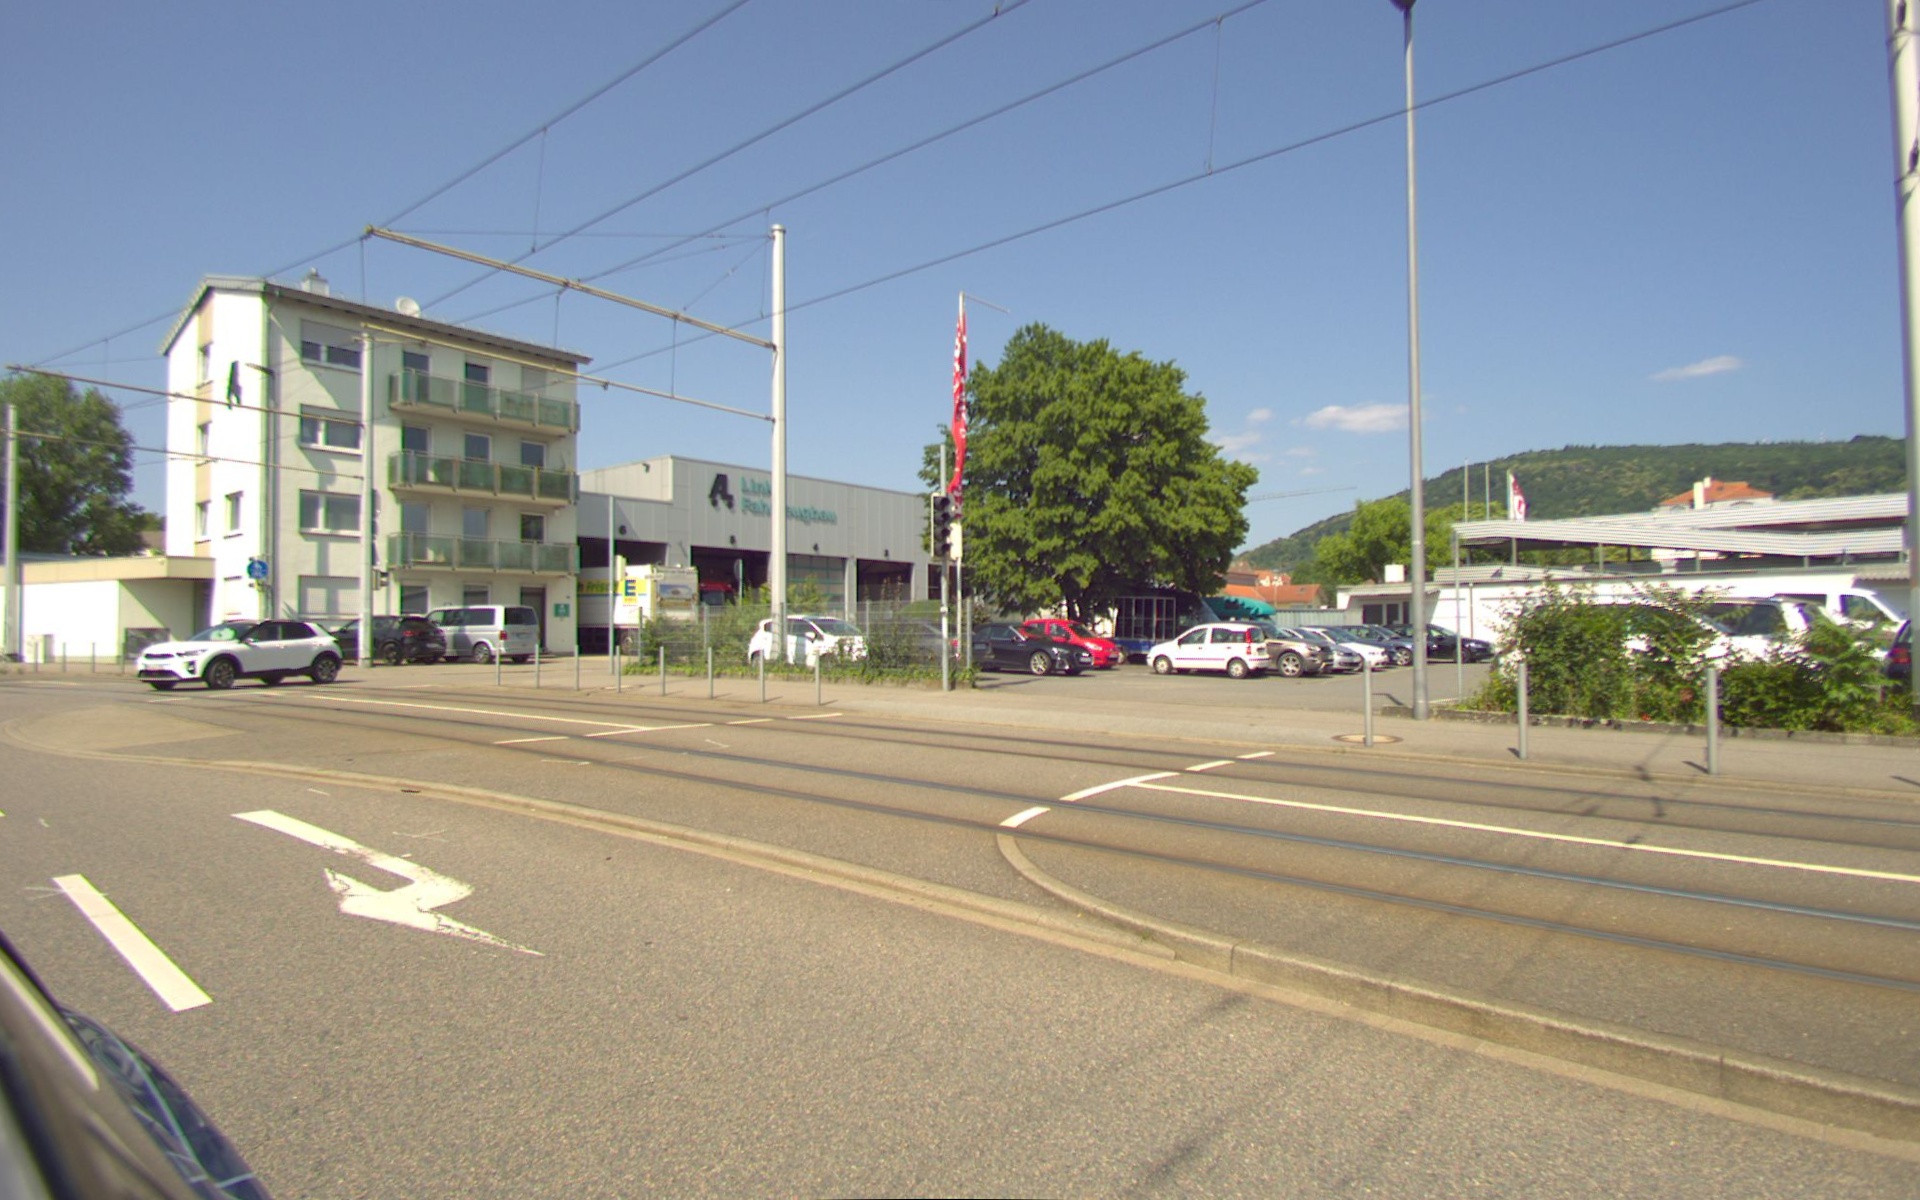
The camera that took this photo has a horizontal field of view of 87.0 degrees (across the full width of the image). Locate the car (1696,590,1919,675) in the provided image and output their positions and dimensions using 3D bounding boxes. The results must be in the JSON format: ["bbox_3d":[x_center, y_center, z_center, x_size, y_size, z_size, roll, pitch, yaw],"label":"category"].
[{"bbox_3d":[22.139,0.830,26.246,2.027,2.029,4.585,1,-2,-43],"label":"car"}]

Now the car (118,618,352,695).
[{"bbox_3d":[-15.954,1.202,22.558,1.721,1.542,4.089,-1,-2,15],"label":"car"}]

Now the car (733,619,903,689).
[{"bbox_3d":[-3.311,1.177,23.163,3.953,1.444,1.690,-1,-1,41],"label":"car"}]

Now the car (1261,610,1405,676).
[{"bbox_3d":[12.556,1.472,34.235,1.970,2.029,4.004,0,-4,-43],"label":"car"}]

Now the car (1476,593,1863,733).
[{"bbox_3d":[9.133,0.753,13.266,1.714,1.553,3.841,1,-2,-42],"label":"car"}]

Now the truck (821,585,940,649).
[{"bbox_3d":[-5.028,1.106,63.127,7.854,3.810,2.589,-1,-2,40],"label":"truck"}]

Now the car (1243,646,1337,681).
[{"bbox_3d":[9.693,1.852,29.747,2.314,0.953,1.273,-2,-2,39],"label":"car"}]

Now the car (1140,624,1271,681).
[{"bbox_3d":[7.108,1.478,29.398,3.388,1.496,1.497,1,-1,41],"label":"car"}]

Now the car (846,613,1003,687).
[{"bbox_3d":[-0.944,1.231,24.626,1.742,1.633,3.841,0,-4,-41],"label":"car"}]

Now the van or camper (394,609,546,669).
[{"bbox_3d":[-16.519,1.299,34.135,4.520,1.922,1.987,0,-2,19],"label":"van or camper"}]

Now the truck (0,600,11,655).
[{"bbox_3d":[-48.017,1.301,47.340,2.177,2.646,4.792,-1,-2,26],"label":"truck"}]

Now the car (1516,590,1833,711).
[{"bbox_3d":[11.988,0.816,17.174,1.969,1.798,4.006,1,-2,-40],"label":"car"}]

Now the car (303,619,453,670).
[{"bbox_3d":[-18.317,1.399,31.916,3.935,1.532,1.872,-1,-2,14],"label":"car"}]

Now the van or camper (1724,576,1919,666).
[{"bbox_3d":[24.106,0.596,27.892,1.755,2.323,4.605,1,-2,-45],"label":"van or camper"}]

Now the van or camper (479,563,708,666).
[{"bbox_3d":[-16.205,0.791,44.119,11.597,3.721,2.751,-4,-3,32],"label":"van or camper"}]

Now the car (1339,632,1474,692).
[{"bbox_3d":[16.305,2.291,37.103,1.970,2.029,4.004,0,-4,-43],"label":"car"}]

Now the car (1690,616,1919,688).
[{"bbox_3d":[20.513,1.206,24.360,1.961,1.569,4.430,2,-3,-42],"label":"car"}]

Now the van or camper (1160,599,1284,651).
[{"bbox_3d":[10.809,1.047,41.941,1.970,2.023,4.648,1,-2,-43],"label":"van or camper"}]

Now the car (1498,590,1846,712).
[{"bbox_3d":[10.552,0.726,15.229,1.828,1.580,3.941,1,-2,-41],"label":"car"}]

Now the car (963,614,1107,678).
[{"bbox_3d":[2.007,1.239,27.889,1.827,1.633,3.843,1,-2,-39],"label":"car"}]

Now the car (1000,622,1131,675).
[{"bbox_3d":[3.357,1.525,32.522,3.832,1.605,1.832,-2,-2,39],"label":"car"}]

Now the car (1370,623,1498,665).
[{"bbox_3d":[18.194,1.662,38.926,1.969,1.523,4.005,1,-2,-42],"label":"car"}]

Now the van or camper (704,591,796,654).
[{"bbox_3d":[-11.195,1.234,53.868,5.050,3.230,1.975,-2,-2,37],"label":"van or camper"}]

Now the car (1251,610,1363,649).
[{"bbox_3d":[14.513,1.250,42.427,3.997,1.567,1.973,-2,-2,41],"label":"car"}]
